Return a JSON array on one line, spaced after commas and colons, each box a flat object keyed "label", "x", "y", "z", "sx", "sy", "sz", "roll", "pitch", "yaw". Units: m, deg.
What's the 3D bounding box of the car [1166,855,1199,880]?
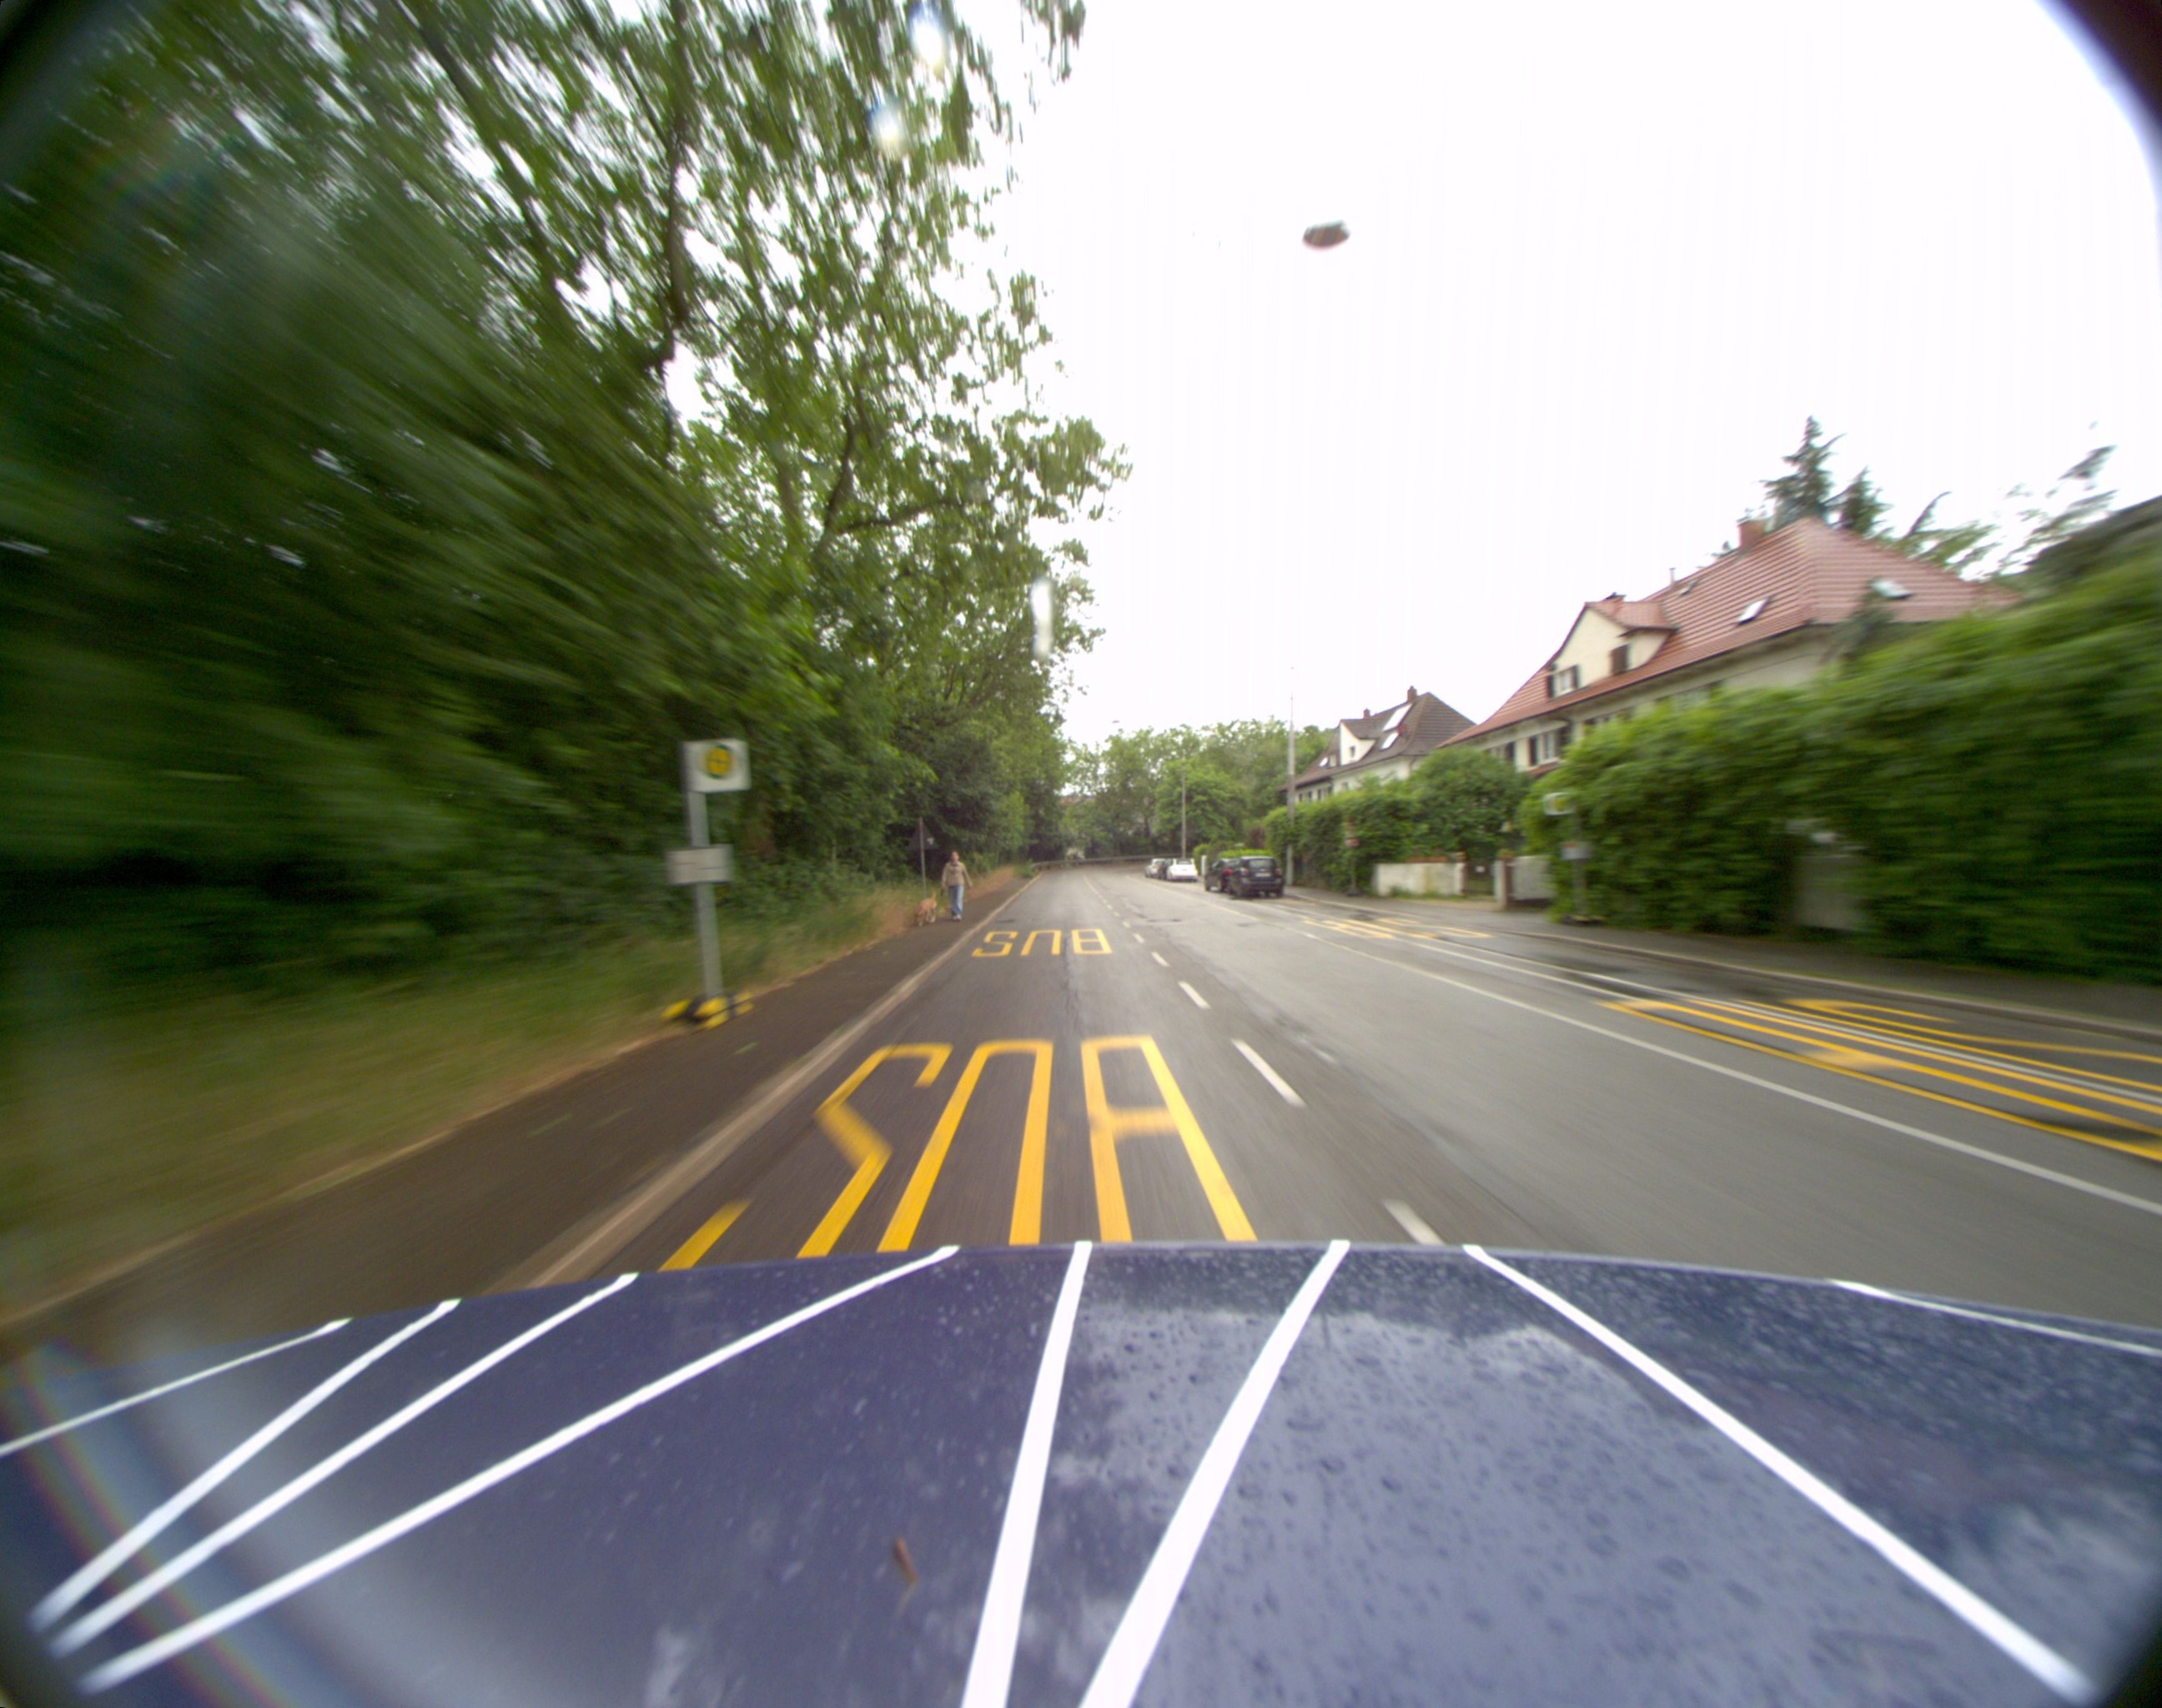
[{"label": "car", "x": 6.435, "y": 0.821, "z": 48.594, "sx": 1.702, "sy": 1.459, "sz": 3.711, "roll": -1, "pitch": 0, "yaw": 1}]

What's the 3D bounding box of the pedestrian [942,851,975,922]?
[{"label": "pedestrian", "x": -2.832, "y": 0.735, "z": 17.645, "sx": 0.643, "sy": 1.602, "sz": 0.669, "roll": -1, "pitch": 2, "yaw": -2}]

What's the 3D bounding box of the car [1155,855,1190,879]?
[{"label": "car", "x": 6.348, "y": 0.885, "z": 53.013, "sx": 1.703, "sy": 1.516, "sz": 4.421, "roll": -1, "pitch": 0, "yaw": -2}]

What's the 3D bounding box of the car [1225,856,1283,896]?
[{"label": "car", "x": 6.640, "y": 0.811, "z": 29.393, "sx": 1.523, "sy": 1.445, "sz": 3.029, "roll": 0, "pitch": 0, "yaw": 0}]

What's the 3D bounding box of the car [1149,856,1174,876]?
[{"label": "car", "x": 6.173, "y": 0.950, "z": 58.669, "sx": 1.736, "sy": 1.413, "sz": 4.287, "roll": -2, "pitch": -3, "yaw": 5}]

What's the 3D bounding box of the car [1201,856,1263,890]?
[{"label": "car", "x": 6.572, "y": 0.806, "z": 33.575, "sx": 1.692, "sy": 1.410, "sz": 4.214, "roll": 0, "pitch": 0, "yaw": -3}]
